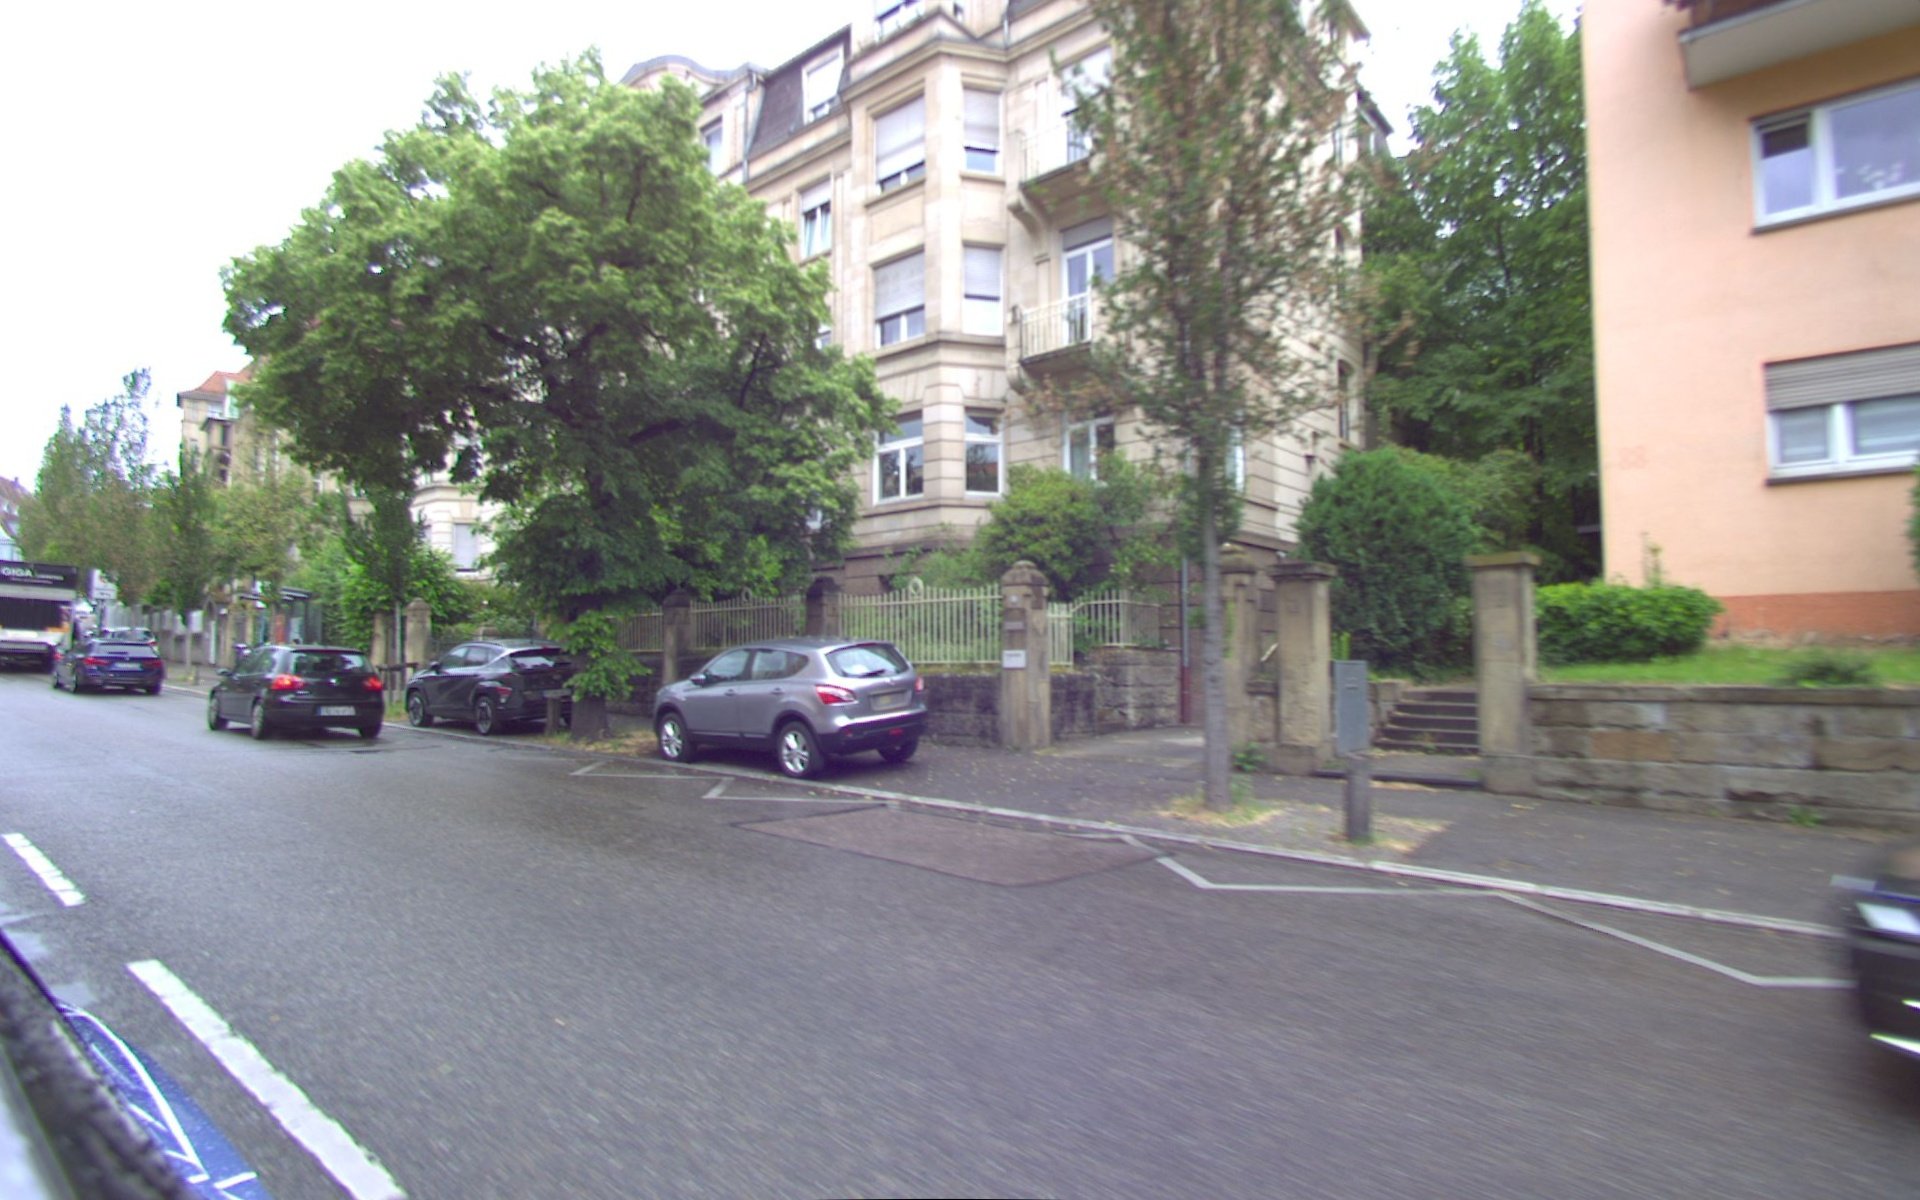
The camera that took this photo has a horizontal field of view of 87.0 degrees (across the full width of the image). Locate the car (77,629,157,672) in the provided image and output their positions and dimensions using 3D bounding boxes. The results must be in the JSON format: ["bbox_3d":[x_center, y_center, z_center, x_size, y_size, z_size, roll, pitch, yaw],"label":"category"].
[{"bbox_3d":[-34.446,2.022,41.310,4.297,1.571,1.724,0,-1,39],"label":"car"}]

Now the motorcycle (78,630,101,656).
[{"bbox_3d":[-42.937,2.125,49.897,1.982,1.245,0.648,-1,-3,45],"label":"motorcycle"}]

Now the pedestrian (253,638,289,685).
[{"bbox_3d":[-21.869,1.950,32.118,0.649,1.443,0.758,-1,-3,43],"label":"pedestrian"}]

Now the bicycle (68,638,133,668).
[{"bbox_3d":[-36.457,2.252,42.945,0.657,1.245,1.955,-1,-3,40],"label":"bicycle"}]

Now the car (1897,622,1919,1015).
[{"bbox_3d":[5.147,0.781,2.098,4.544,1.529,1.797,-2,-4,40],"label":"car"}]

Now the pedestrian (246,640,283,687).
[{"bbox_3d":[-22.339,2.029,32.498,0.759,1.443,0.758,-1,-3,41],"label":"pedestrian"}]

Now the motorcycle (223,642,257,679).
[{"bbox_3d":[-25.554,2.148,35.918,1.763,1.246,0.648,-1,-3,45],"label":"motorcycle"}]

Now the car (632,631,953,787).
[{"bbox_3d":[-2.255,1.235,12.918,4.300,1.571,1.723,0,-1,41],"label":"car"}]

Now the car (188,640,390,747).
[{"bbox_3d":[-11.302,1.466,16.907,4.591,1.529,1.752,-2,-4,43],"label":"car"}]

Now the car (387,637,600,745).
[{"bbox_3d":[-8.470,1.533,18.233,4.296,1.571,1.725,0,1,38],"label":"car"}]

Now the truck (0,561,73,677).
[{"bbox_3d":[-35.311,0.743,37.544,9.309,3.884,2.618,-1,-5,44],"label":"truck"}]

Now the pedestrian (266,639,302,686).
[{"bbox_3d":[-21.245,1.966,31.795,0.649,1.443,0.758,-1,-3,43],"label":"pedestrian"}]

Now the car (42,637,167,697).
[{"bbox_3d":[-23.365,1.805,27.595,4.744,1.479,1.754,-2,-6,40],"label":"car"}]
